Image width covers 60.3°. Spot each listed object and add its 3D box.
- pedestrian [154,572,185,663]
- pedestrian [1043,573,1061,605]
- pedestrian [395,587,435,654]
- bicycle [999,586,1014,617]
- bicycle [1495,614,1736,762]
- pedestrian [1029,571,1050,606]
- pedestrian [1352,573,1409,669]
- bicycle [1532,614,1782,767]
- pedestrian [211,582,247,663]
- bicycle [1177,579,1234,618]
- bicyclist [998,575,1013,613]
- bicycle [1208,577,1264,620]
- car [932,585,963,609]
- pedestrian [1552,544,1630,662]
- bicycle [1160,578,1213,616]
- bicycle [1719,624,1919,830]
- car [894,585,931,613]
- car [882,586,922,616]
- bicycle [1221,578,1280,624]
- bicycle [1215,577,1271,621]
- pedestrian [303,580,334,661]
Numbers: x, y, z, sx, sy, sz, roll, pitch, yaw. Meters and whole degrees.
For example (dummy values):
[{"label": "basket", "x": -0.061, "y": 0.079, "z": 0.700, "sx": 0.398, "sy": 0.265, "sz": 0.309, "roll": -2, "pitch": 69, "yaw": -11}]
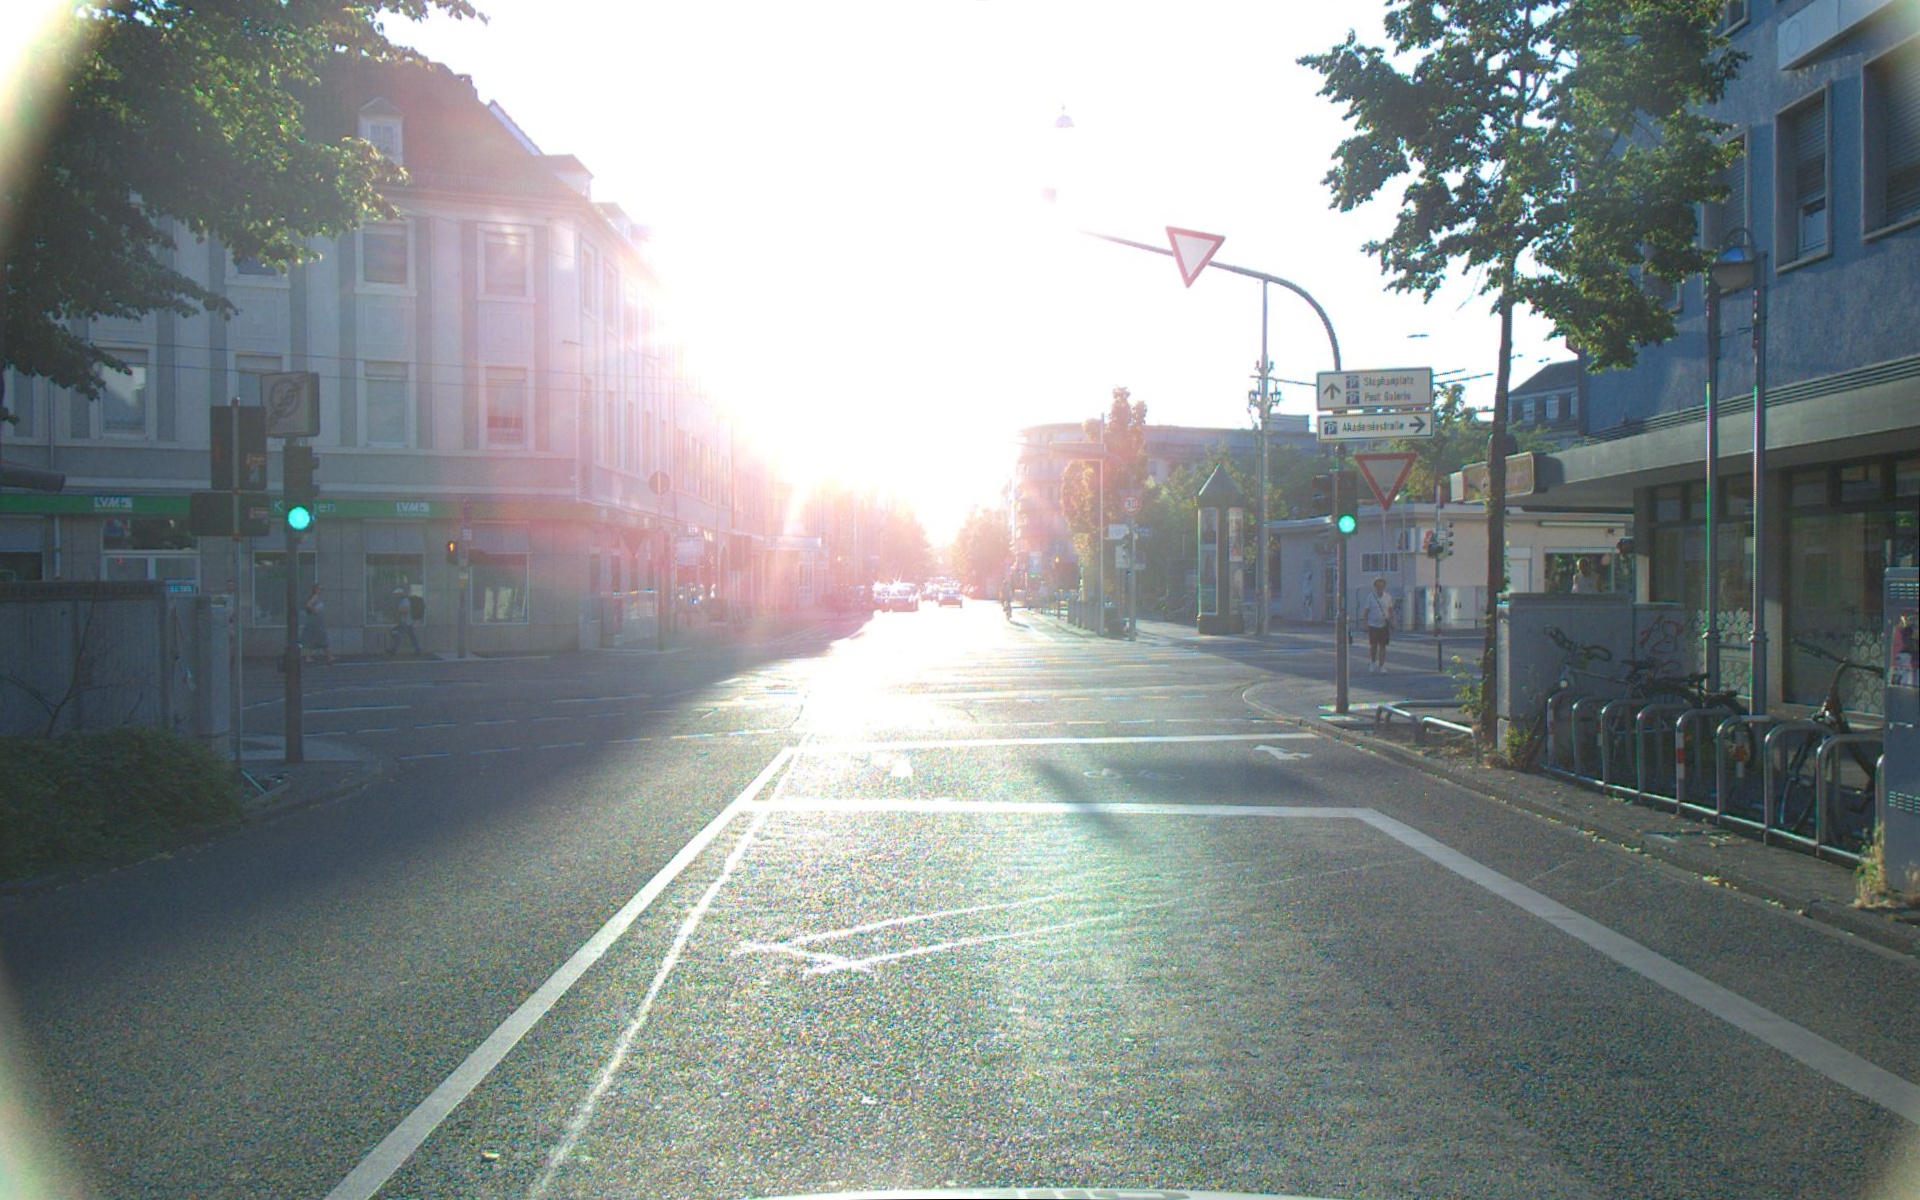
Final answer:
[{"label": "pedestrian", "x": -17.340, "y": 0.375, "z": 36.278, "sx": 0.490, "sy": 1.962, "sz": 0.569, "roll": -1, "pitch": 0, "yaw": -35}, {"label": "pedestrian", "x": 5.228, "y": -0.628, "z": 94.238, "sx": 0.787, "sy": 1.817, "sz": 0.995, "roll": -2, "pitch": -1, "yaw": 14}, {"label": "pedestrian", "x": -13.111, "y": 0.489, "z": 39.753, "sx": 0.855, "sy": 1.575, "sz": 0.695, "roll": -1, "pitch": 0, "yaw": -22}, {"label": "bicycle", "x": 2.168, "y": 0.081, "z": 77.846, "sx": 0.664, "sy": 1.426, "sz": 2.230, "roll": -1, "pitch": 0, "yaw": 1}, {"label": "bicycle", "x": 5.618, "y": 0.747, "z": 14.220, "sx": 1.873, "sy": 1.224, "sz": 0.470, "roll": 0, "pitch": 0, "yaw": 1}, {"label": "pedestrian", "x": 4.615, "y": -0.679, "z": 96.117, "sx": 0.971, "sy": 1.991, "sz": 0.806, "roll": -1, "pitch": 0, "yaw": 26}, {"label": "pedestrian", "x": 7.865, "y": 0.387, "z": 30.915, "sx": 0.788, "sy": 1.756, "sz": 0.993, "roll": -2, "pitch": -1, "yaw": 27}, {"label": "bicycle", "x": 5.766, "y": 0.742, "z": 13.728, "sx": 1.873, "sy": 1.224, "sz": 0.470, "roll": 0, "pitch": 0, "yaw": 1}, {"label": "pedestrian", "x": -16.210, "y": 0.493, "z": 36.700, "sx": 0.687, "sy": 1.776, "sz": 0.635, "roll": -1, "pitch": 0, "yaw": -22}, {"label": "bicycle", "x": 9.904, "y": -0.064, "z": 66.710, "sx": 2.176, "sy": 1.549, "sz": 0.681, "roll": -1, "pitch": 0, "yaw": 1}, {"label": "bicyclist", "x": 2.154, "y": -0.288, "z": 77.817, "sx": 0.664, "sy": 1.737, "sz": 0.669, "roll": -1, "pitch": 0, "yaw": 1}, {"label": "bicycle", "x": 10.107, "y": -0.054, "z": 60.648, "sx": 1.945, "sy": 1.549, "sz": 0.479, "roll": -1, "pitch": 0, "yaw": 1}, {"label": "car", "x": -0.905, "y": -0.260, "z": 122.076, "sx": 2.256, "sy": 1.707, "sz": 5.532, "roll": -1, "pitch": 1, "yaw": 0}, {"label": "pedestrian", "x": 10.453, "y": 0.047, "z": 27.411, "sx": 0.985, "sy": 1.919, "sz": 0.794, "roll": -1, "pitch": -1, "yaw": -42}, {"label": "bicycle", "x": 9.556, "y": -0.136, "z": 69.852, "sx": 2.175, "sy": 1.549, "sz": 0.681, "roll": -1, "pitch": 0, "yaw": 4}, {"label": "bicycle", "x": 5.791, "y": 0.774, "z": 10.475, "sx": 1.878, "sy": 1.224, "sz": 0.468, "roll": -1, "pitch": 0, "yaw": -12}, {"label": "car", "x": -3.043, "y": -0.086, "z": 107.539, "sx": 2.256, "sy": 1.707, "sz": 5.532, "roll": -1, "pitch": 1, "yaw": 0}, {"label": "car", "x": -3.472, "y": 0.033, "z": 99.944, "sx": 2.256, "sy": 1.707, "sz": 5.532, "roll": -1, "pitch": 1, "yaw": 0}, {"label": "bicycle", "x": 10.039, "y": 0.022, "z": 57.198, "sx": 1.945, "sy": 1.549, "sz": 0.479, "roll": -1, "pitch": 0, "yaw": 0}, {"label": "bicycle", "x": 10.199, "y": -0.031, "z": 59.612, "sx": 1.945, "sy": 1.549, "sz": 0.479, "roll": -1, "pitch": 0, "yaw": 1}, {"label": "pedestrian", "x": -14.537, "y": 0.456, "z": 37.483, "sx": 0.636, "sy": 1.809, "sz": 0.667, "roll": -1, "pitch": 0, "yaw": -22}]
